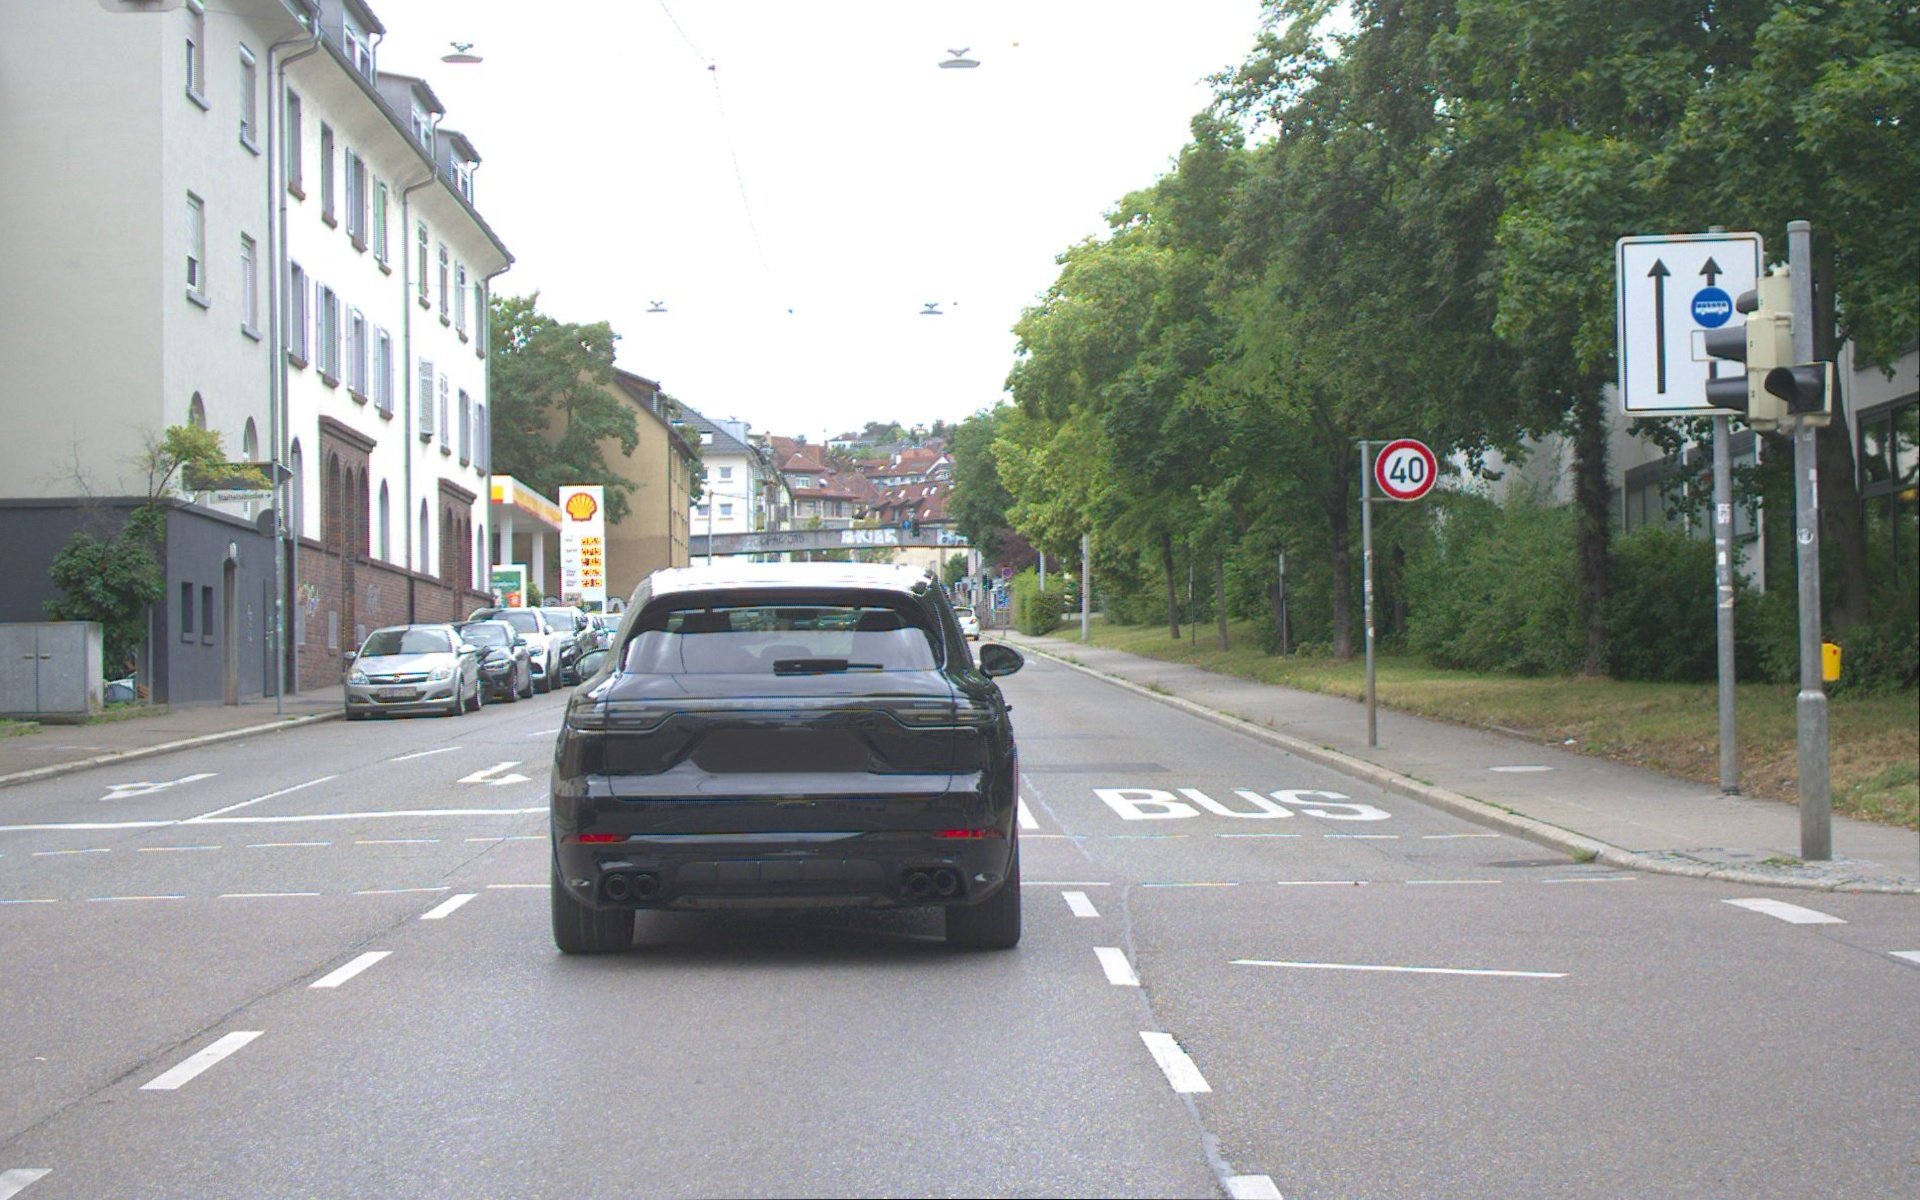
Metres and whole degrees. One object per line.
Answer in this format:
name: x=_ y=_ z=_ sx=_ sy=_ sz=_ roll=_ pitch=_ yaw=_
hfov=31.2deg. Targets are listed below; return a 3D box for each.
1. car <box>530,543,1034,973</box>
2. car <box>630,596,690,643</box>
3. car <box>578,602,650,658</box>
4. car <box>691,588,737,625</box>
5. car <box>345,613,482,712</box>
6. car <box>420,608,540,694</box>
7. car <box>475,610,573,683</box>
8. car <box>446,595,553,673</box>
car: x=-0.734 y=0.598 z=15.712 sx=1.993 sy=1.691 sz=4.000 roll=1 pitch=1 yaw=-1
car: x=-9.439 y=0.597 z=108.356 sx=1.670 sy=1.357 sz=4.001 roll=0 pitch=1 yaw=-2
car: x=-9.120 y=0.785 z=90.878 sx=1.670 sy=1.357 sz=4.001 roll=0 pitch=1 yaw=-2
car: x=-9.646 y=0.258 z=134.840 sx=1.670 sy=1.357 sz=4.001 roll=0 pitch=1 yaw=-2
car: x=-8.268 y=0.924 z=52.259 sx=1.669 sy=1.357 sz=4.001 roll=0 pitch=1 yaw=-3
car: x=-8.307 y=0.858 z=59.766 sx=1.670 sy=1.357 sz=4.001 roll=0 pitch=1 yaw=-2
car: x=-8.958 y=0.939 z=70.826 sx=1.670 sy=1.357 sz=4.001 roll=0 pitch=1 yaw=-2
car: x=-8.772 y=0.627 z=65.700 sx=1.670 sy=1.357 sz=4.001 roll=0 pitch=1 yaw=-2
